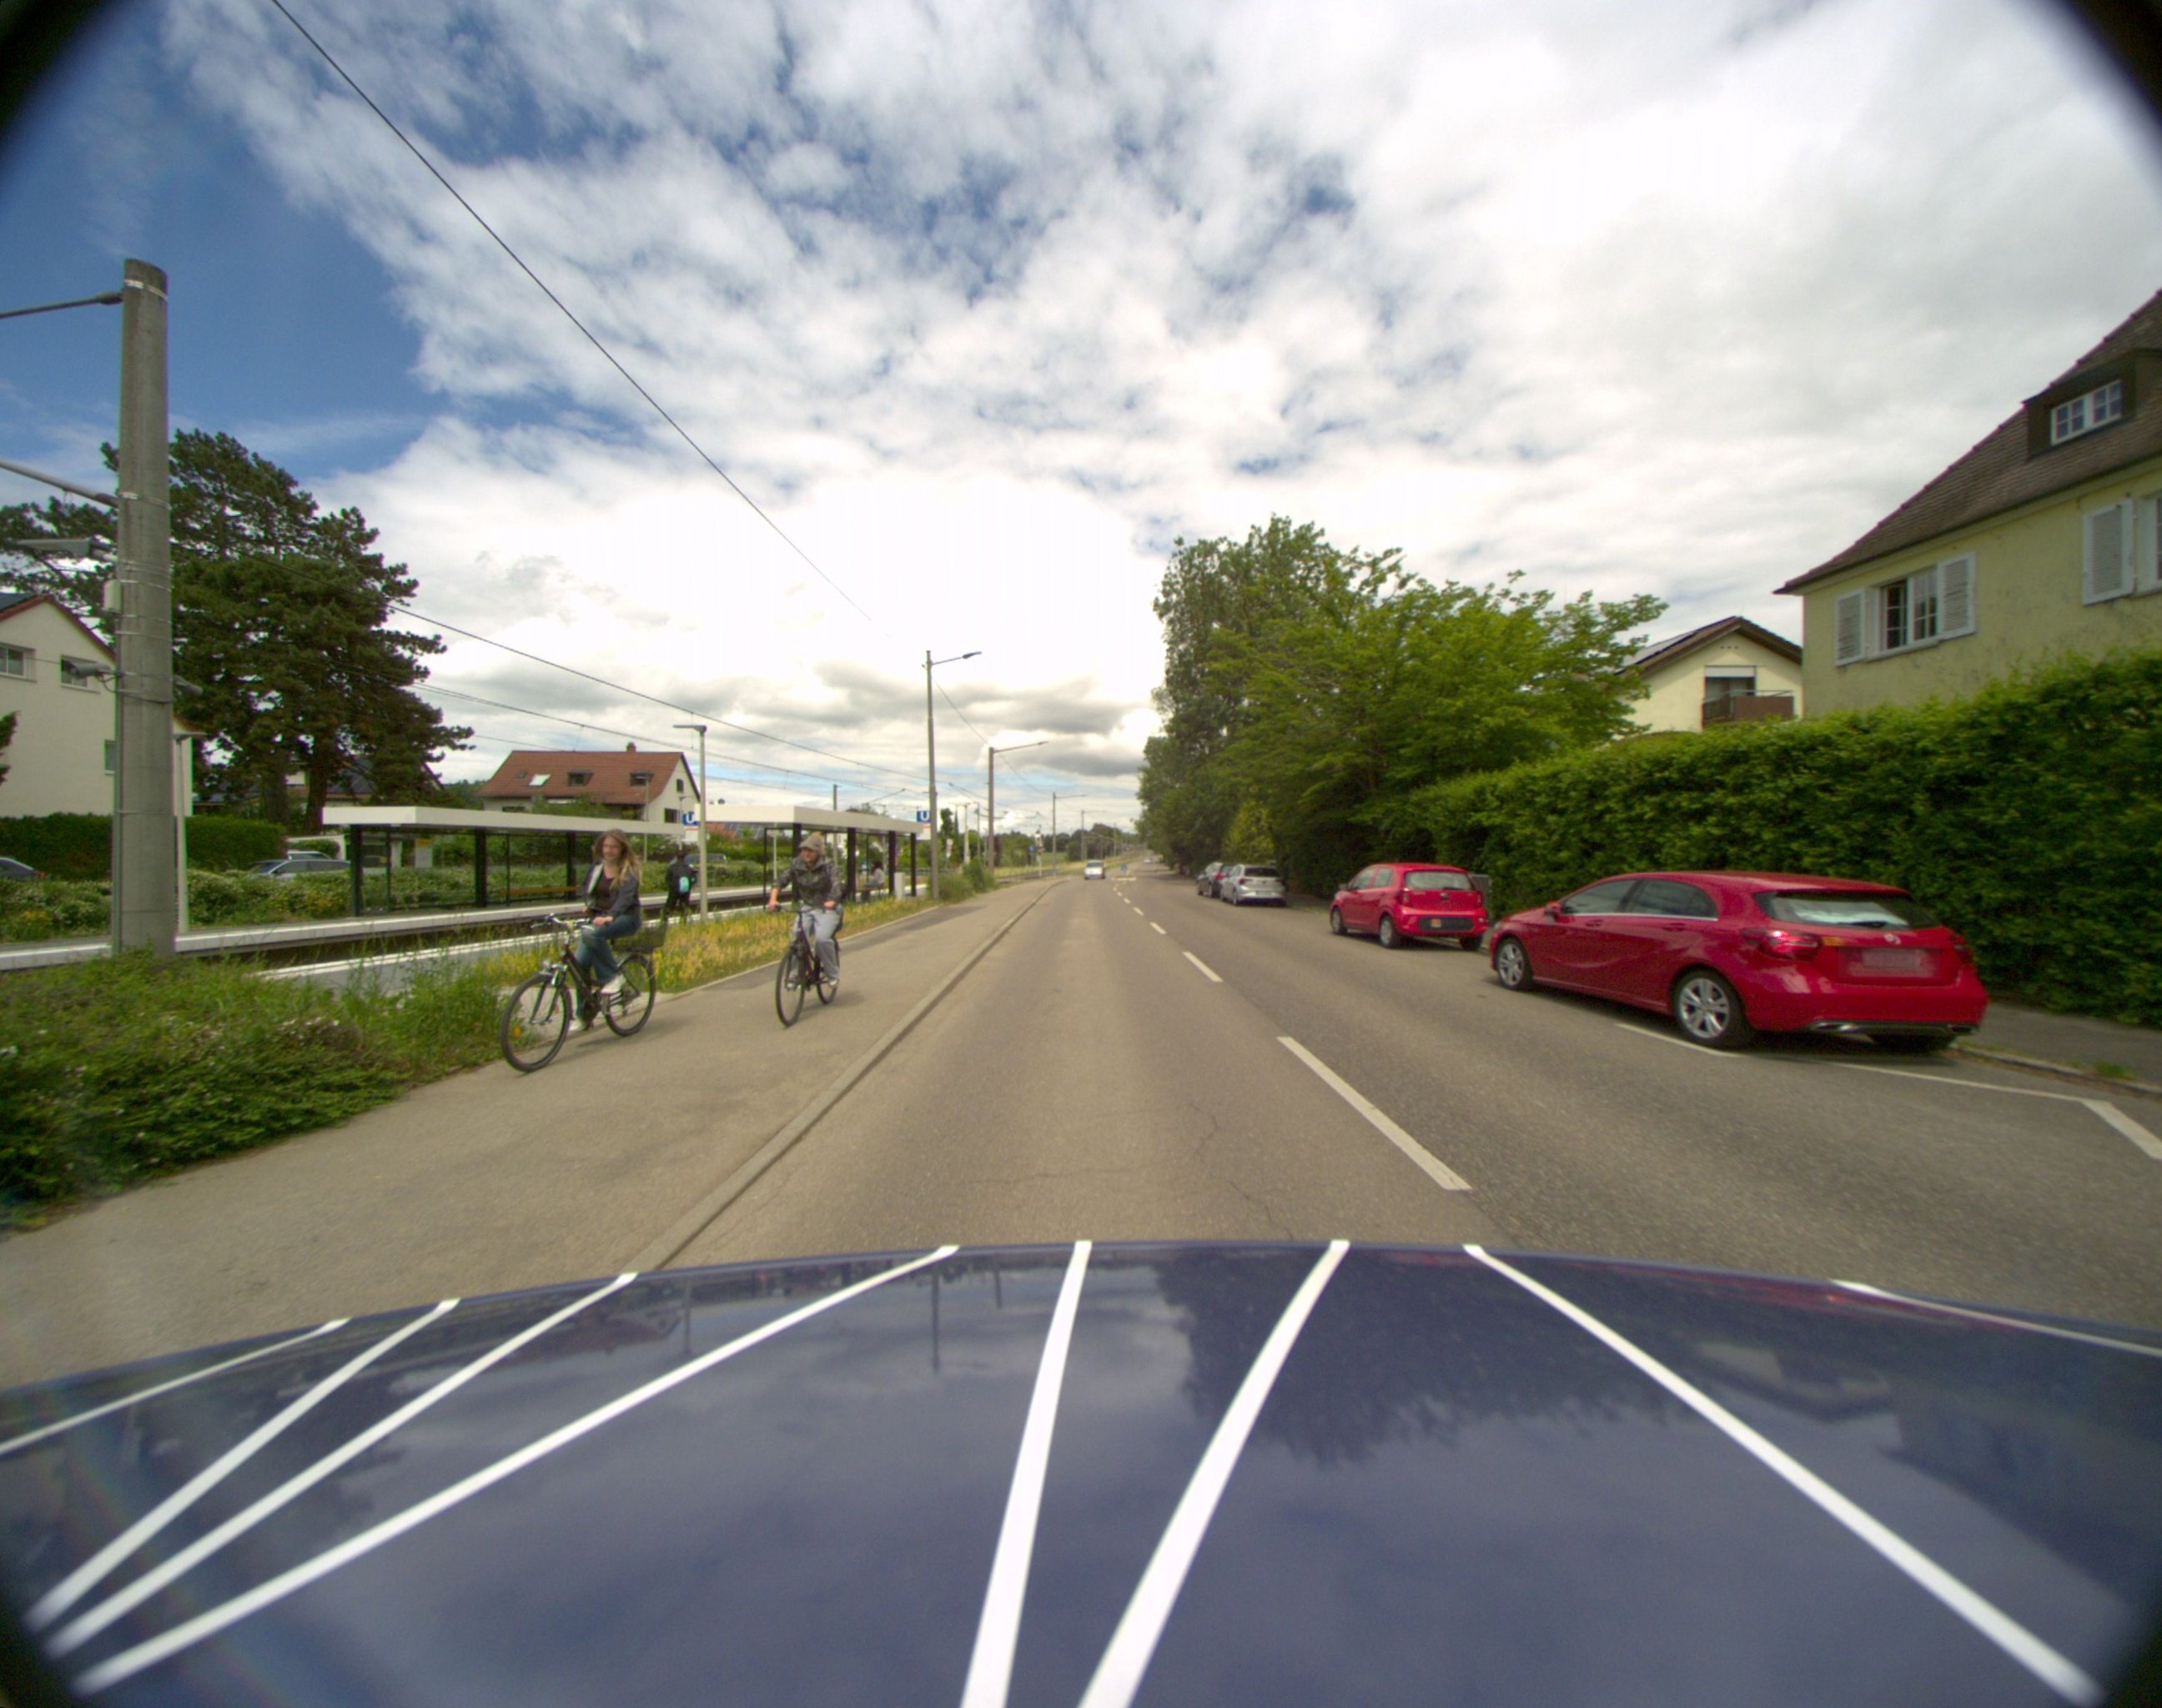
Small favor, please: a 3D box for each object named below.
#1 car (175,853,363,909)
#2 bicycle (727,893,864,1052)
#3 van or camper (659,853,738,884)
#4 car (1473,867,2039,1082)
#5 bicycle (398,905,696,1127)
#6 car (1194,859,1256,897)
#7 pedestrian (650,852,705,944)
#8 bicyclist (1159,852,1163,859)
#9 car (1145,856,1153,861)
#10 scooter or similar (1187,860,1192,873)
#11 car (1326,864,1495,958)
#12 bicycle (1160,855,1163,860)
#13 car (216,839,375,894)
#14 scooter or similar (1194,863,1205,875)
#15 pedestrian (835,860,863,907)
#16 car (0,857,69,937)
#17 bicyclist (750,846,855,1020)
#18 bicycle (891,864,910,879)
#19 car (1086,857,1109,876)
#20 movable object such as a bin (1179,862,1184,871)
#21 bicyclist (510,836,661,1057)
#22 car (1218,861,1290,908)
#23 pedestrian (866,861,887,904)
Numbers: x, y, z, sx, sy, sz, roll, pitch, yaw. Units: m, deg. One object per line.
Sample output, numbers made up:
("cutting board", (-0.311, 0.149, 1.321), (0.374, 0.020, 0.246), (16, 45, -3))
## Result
("car", (-26.106, 0.809, 24.666), (1.780, 1.652, 4.000), (-1, 0, 0))
("bicycle", (-2.694, 1.049, 7.424), (0.547, 1.239, 2.055), (-1, 0, 0))
("van or camper", (-23.744, 0.874, 47.401), (1.909, 1.815, 5.050), (-1, 0, 7))
("car", (5.824, 0.880, 7.427), (1.766, 1.462, 4.185), (0, 0, -1))
("bicycle", (-3.946, 1.091, 5.945), (0.620, 1.239, 2.396), (-1, 0, 0))
("car", (6.082, 0.968, 32.613), (1.741, 1.496, 4.477), (1, 0, -1))
("pedestrian", (-7.743, 0.819, 14.587), (0.638, 1.715, 0.656), (-1, 0, 31))
("bicyclist", (18.293, 0.256, 173.220), (0.780, 1.540, 0.870), (0, 1, 5))
("car", (18.582, 1.196, 207.761), (1.697, 1.422, 3.787), (-1, 0, 2))
("scooter or similar", (10.531, 1.228, 73.980), (0.409, 1.192, 1.640), (-1, 0, 7))
("car", (5.983, 0.967, 14.233), (1.592, 1.496, 3.514), (1, 0, -1))
("bicycle", (18.320, 0.787, 173.276), (0.756, 1.219, 2.309), (1, 0, 5))
("car", (-30.593, 0.488, 29.665), (4.338, 1.932, 1.746), (2, 0, 0))
("scooter or similar", (10.235, 1.288, 65.729), (0.479, 1.074, 1.212), (-2, 0, -13))
("pedestrian", (-6.995, 0.876, 22.956), (0.583, 1.372, 0.740), (-1, 0, 2))
("car", (-26.684, 1.077, 17.316), (1.736, 1.903, 3.936), (-2, 1, 6))
("bicyclist", (-2.694, 0.738, 7.426), (0.719, 1.602, 0.757), (-1, 0, 0))
("bicycle", (-16.100, 1.602, 67.670), (0.539, 1.038, 2.543), (20, -3, 7))
("car", (1.455, 1.061, 65.783), (1.642, 1.510, 3.870), (-2, 1, 6))
("movable object such as a bin", (10.520, 1.340, 79.525), (0.514, 0.939, 0.569), (-2, 0, 5))
("bicyclist", (-3.944, 0.698, 6.110), (0.641, 1.640, 0.819), (-1, 0, 0))
("car", (6.059, 1.029, 27.019), (1.741, 1.496, 3.963), (1, 0, 1))
("pedestrian", (-6.708, 0.920, 24.906), (0.486, 1.337, 0.396), (6, 7, 23))
